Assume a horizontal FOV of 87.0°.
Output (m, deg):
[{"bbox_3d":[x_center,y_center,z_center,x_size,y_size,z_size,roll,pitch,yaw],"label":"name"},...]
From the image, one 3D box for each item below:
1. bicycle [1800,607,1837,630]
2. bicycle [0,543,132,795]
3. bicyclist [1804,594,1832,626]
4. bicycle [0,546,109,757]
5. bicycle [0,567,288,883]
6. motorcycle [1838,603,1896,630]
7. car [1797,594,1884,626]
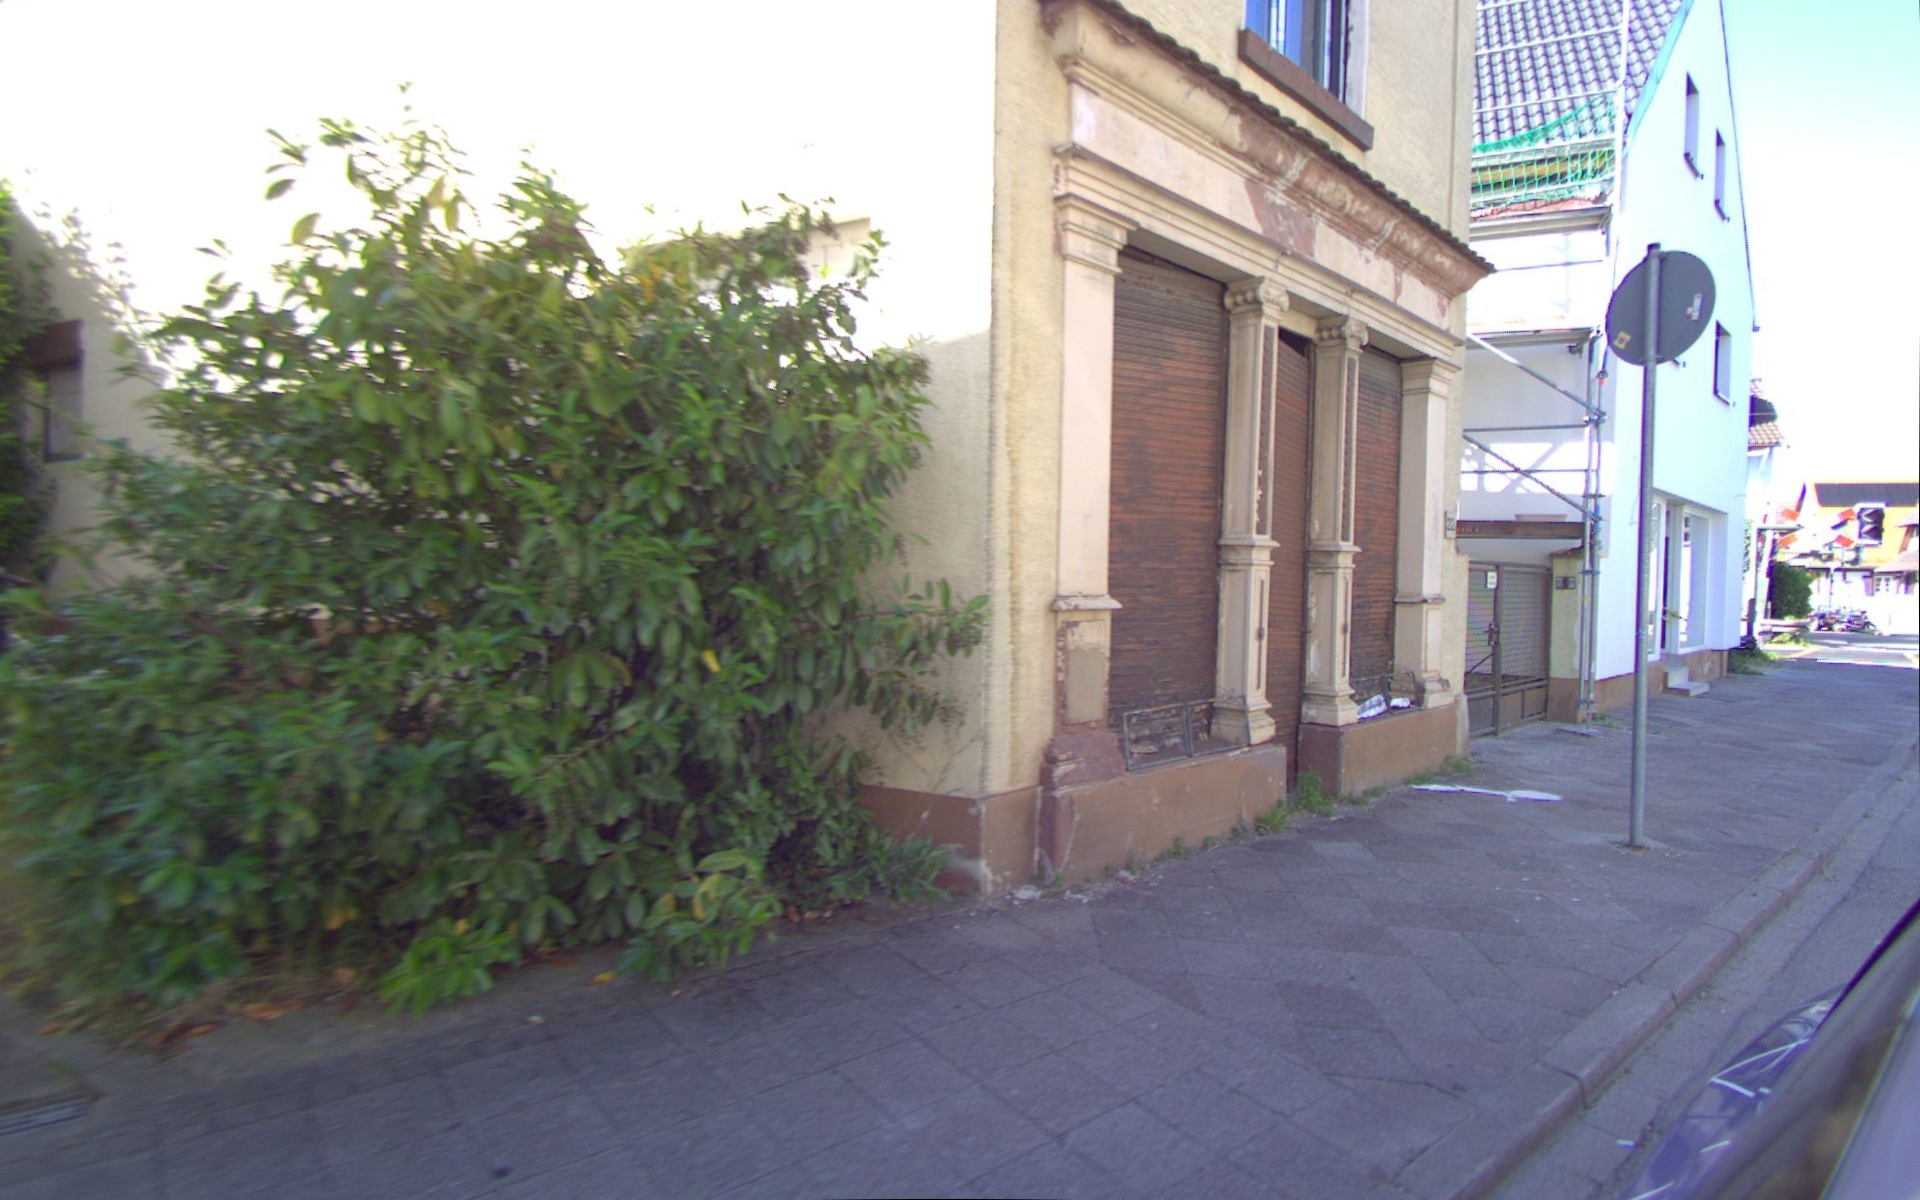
[{"bbox_3d":[42.296,0.903,49.871,0.877,1.018,2.045,-1,1,25],"label":"bicycle"},{"bbox_3d":[-5.262,0.291,5.399,1.791,1.164,0.694,4,3,29],"label":"bicycle"},{"bbox_3d":[42.274,0.499,49.863,0.842,1.560,0.865,-1,0,26],"label":"bicyclist"},{"bbox_3d":[-6.168,0.254,6.218,1.786,1.164,0.696,3,3,22],"label":"bicycle"},{"bbox_3d":[-3.874,0.445,4.310,1.781,1.091,0.698,3,3,16],"label":"bicycle"},{"bbox_3d":[43.607,0.786,48.692,0.613,1.247,1.999,1,1,-22],"label":"motorcycle"},{"bbox_3d":[45.030,0.479,51.890,1.830,1.423,4.998,2,2,23],"label":"car"}]
